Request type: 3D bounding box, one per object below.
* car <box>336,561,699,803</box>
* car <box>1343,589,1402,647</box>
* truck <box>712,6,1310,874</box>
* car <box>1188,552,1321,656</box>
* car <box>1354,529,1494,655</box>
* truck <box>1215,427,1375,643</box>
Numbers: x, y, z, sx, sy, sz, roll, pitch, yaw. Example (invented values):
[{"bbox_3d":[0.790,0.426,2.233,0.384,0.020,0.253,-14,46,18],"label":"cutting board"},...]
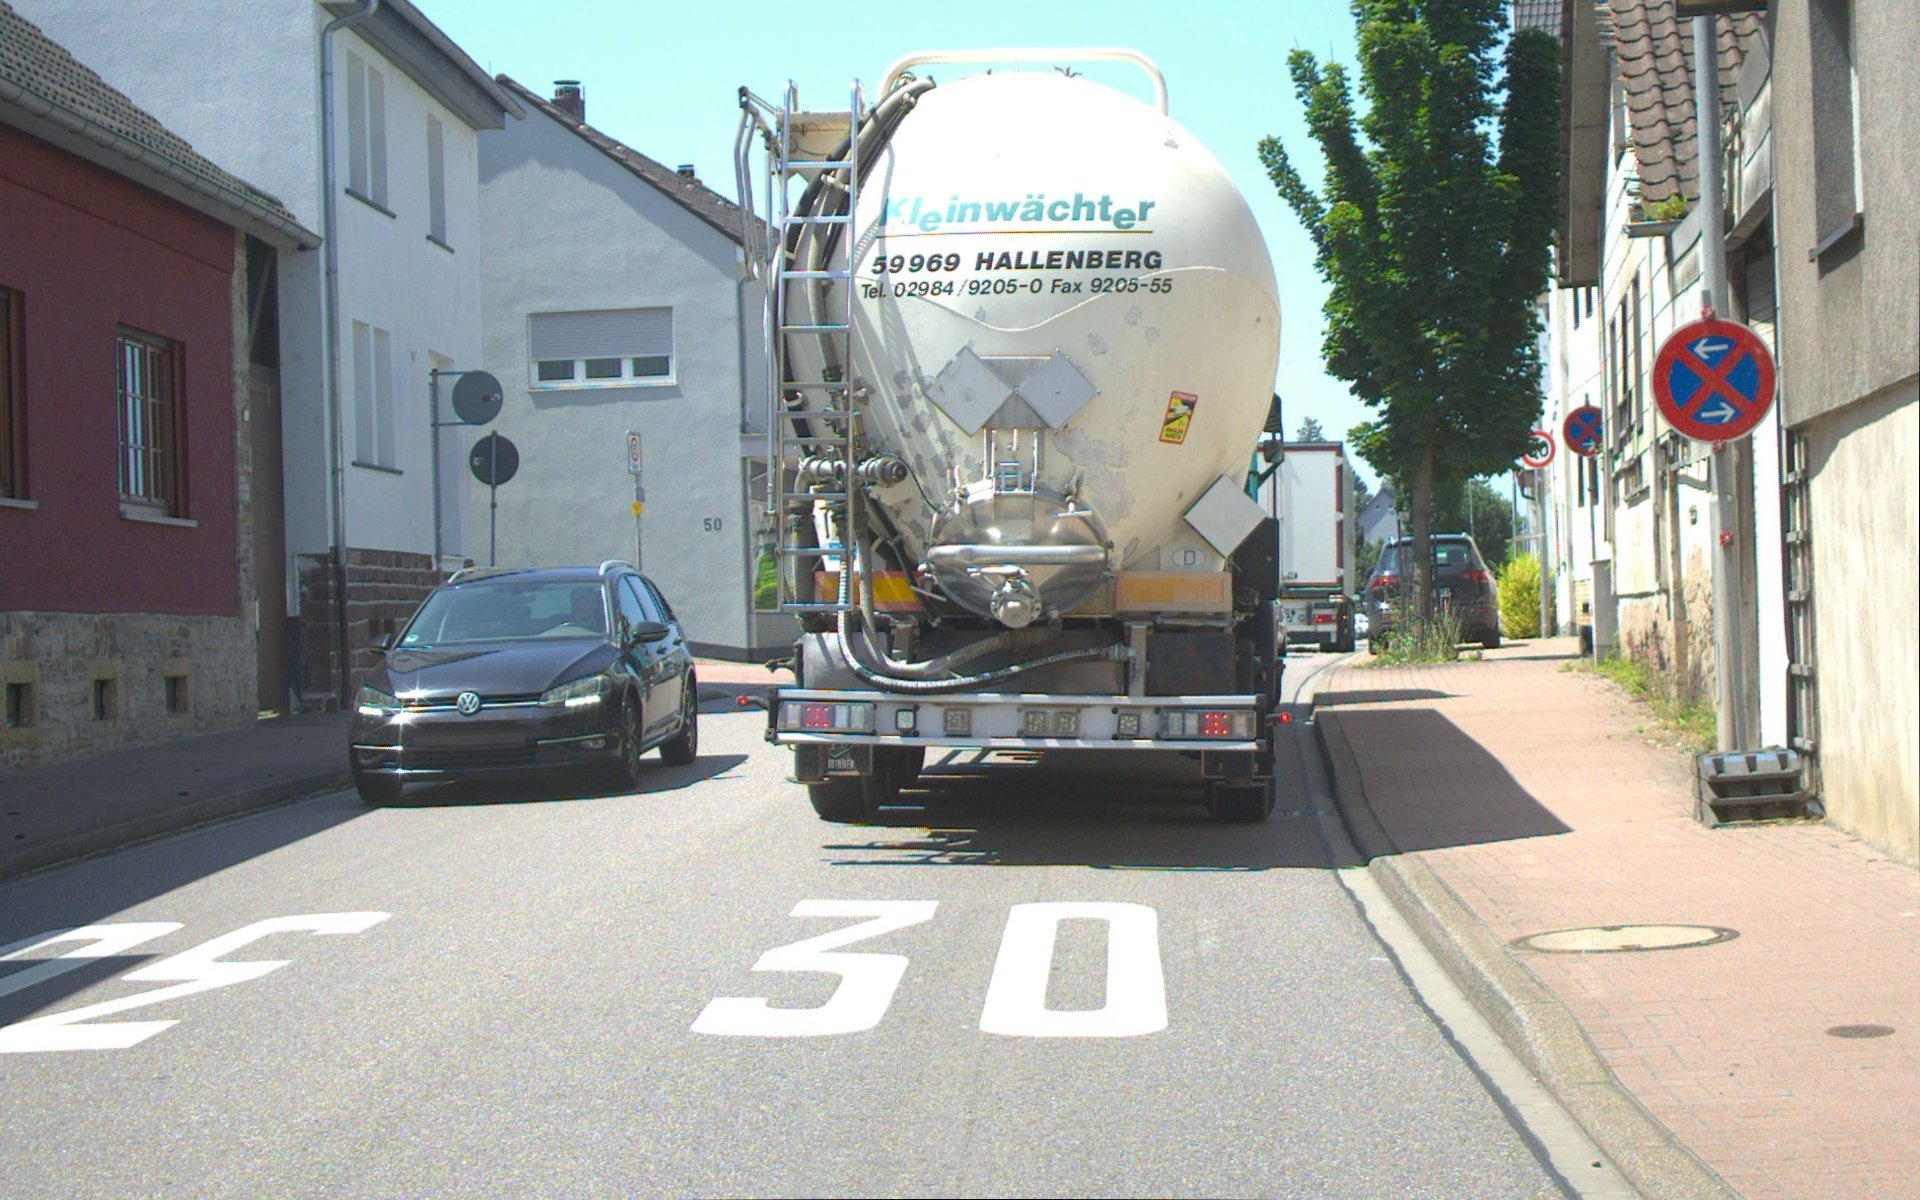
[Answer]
[{"bbox_3d":[-2.863,0.476,23.110,1.694,1.405,4.200,-2,1,2],"label":"car"},{"bbox_3d":[14.684,0.636,122.484,1.946,1.964,4.783,-2,-1,6],"label":"car"},{"bbox_3d":[0.545,-0.796,19.813,2.733,3.946,8.140,0,1,5],"label":"truck"},{"bbox_3d":[4.648,0.079,53.768,1.701,1.442,4.834,-4,-1,8],"label":"car"},{"bbox_3d":[6.656,-0.126,49.149,1.803,1.608,4.547,-4,0,8],"label":"car"},{"bbox_3d":[6.853,-1.333,69.819,2.964,4.055,9.281,-1,1,6],"label":"truck"}]
